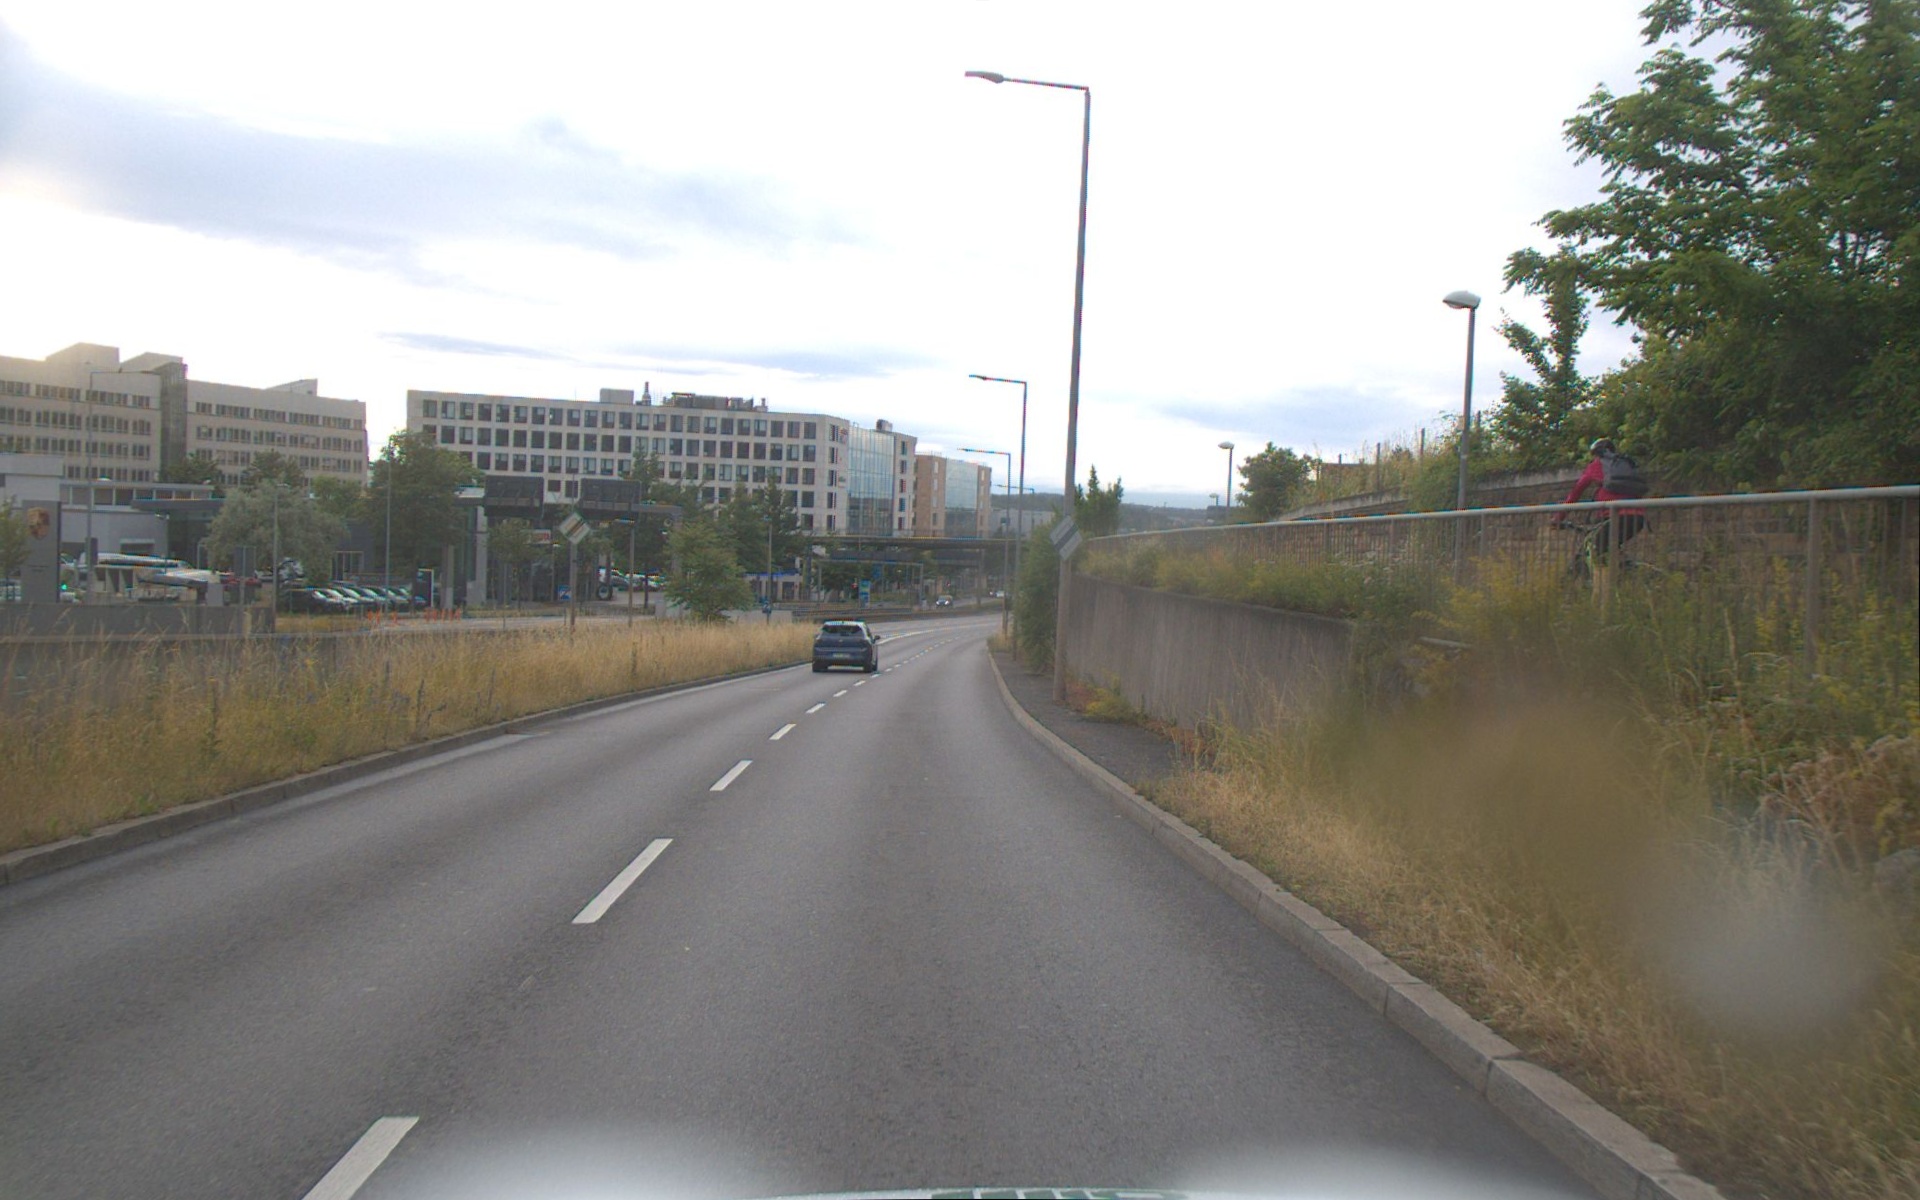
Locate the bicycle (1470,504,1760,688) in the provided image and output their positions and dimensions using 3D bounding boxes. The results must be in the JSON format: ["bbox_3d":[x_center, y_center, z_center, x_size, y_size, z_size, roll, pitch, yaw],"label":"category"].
[{"bbox_3d":[5.406,-0.113,14.031,0.852,1.310,3.486,4,3,-3],"label":"bicycle"}]

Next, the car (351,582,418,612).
[{"bbox_3d":[-40.699,-0.195,116.989,3.903,1.712,1.925,5,3,9],"label":"car"}]

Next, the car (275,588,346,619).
[{"bbox_3d":[-42.119,0.209,107.297,3.916,1.627,1.701,5,3,9],"label":"car"}]

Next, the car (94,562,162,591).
[{"bbox_3d":[-56.387,-1.623,112.182,1.877,1.712,4.004,5,3,13],"label":"car"}]

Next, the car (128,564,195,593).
[{"bbox_3d":[-53.708,-1.484,111.286,1.877,1.712,4.004,5,3,13],"label":"car"}]

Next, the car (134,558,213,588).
[{"bbox_3d":[-56.488,-1.938,118.958,1.952,1.914,5.540,5,2,14],"label":"car"}]

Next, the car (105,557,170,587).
[{"bbox_3d":[-58.971,-2.037,118.655,1.952,1.913,4.004,5,3,14],"label":"car"}]

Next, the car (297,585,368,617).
[{"bbox_3d":[-41.700,0.043,109.954,3.903,1.712,1.925,5,3,9],"label":"car"}]

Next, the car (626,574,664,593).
[{"bbox_3d":[-37.763,-1.973,198.556,3.904,1.907,2.002,5,3,13],"label":"car"}]

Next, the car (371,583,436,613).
[{"bbox_3d":[-40.167,-0.144,119.388,3.903,1.712,1.925,5,3,9],"label":"car"}]

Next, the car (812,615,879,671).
[{"bbox_3d":[-3.319,1.248,48.618,1.713,1.444,3.479,0,2,0],"label":"car"}]

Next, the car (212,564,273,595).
[{"bbox_3d":[-51.146,-1.481,117.988,1.862,1.913,4.004,5,3,14],"label":"car"}]

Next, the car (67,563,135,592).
[{"bbox_3d":[-58.473,-1.524,112.636,1.877,1.712,4.004,5,3,13],"label":"car"}]

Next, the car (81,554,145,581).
[{"bbox_3d":[-61.322,-2.357,119.834,1.877,1.712,4.004,5,3,13],"label":"car"}]

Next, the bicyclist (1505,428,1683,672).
[{"bbox_3d":[5.426,-0.433,14.254,0.852,1.941,1.294,4,2,-3],"label":"bicyclist"}]

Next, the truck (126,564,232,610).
[{"bbox_3d":[-51.068,-0.921,108.379,2.316,2.570,7.420,5,3,10],"label":"truck"}]

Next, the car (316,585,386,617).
[{"bbox_3d":[-41.329,0.044,112.285,3.903,1.712,1.925,5,3,9],"label":"car"}]
